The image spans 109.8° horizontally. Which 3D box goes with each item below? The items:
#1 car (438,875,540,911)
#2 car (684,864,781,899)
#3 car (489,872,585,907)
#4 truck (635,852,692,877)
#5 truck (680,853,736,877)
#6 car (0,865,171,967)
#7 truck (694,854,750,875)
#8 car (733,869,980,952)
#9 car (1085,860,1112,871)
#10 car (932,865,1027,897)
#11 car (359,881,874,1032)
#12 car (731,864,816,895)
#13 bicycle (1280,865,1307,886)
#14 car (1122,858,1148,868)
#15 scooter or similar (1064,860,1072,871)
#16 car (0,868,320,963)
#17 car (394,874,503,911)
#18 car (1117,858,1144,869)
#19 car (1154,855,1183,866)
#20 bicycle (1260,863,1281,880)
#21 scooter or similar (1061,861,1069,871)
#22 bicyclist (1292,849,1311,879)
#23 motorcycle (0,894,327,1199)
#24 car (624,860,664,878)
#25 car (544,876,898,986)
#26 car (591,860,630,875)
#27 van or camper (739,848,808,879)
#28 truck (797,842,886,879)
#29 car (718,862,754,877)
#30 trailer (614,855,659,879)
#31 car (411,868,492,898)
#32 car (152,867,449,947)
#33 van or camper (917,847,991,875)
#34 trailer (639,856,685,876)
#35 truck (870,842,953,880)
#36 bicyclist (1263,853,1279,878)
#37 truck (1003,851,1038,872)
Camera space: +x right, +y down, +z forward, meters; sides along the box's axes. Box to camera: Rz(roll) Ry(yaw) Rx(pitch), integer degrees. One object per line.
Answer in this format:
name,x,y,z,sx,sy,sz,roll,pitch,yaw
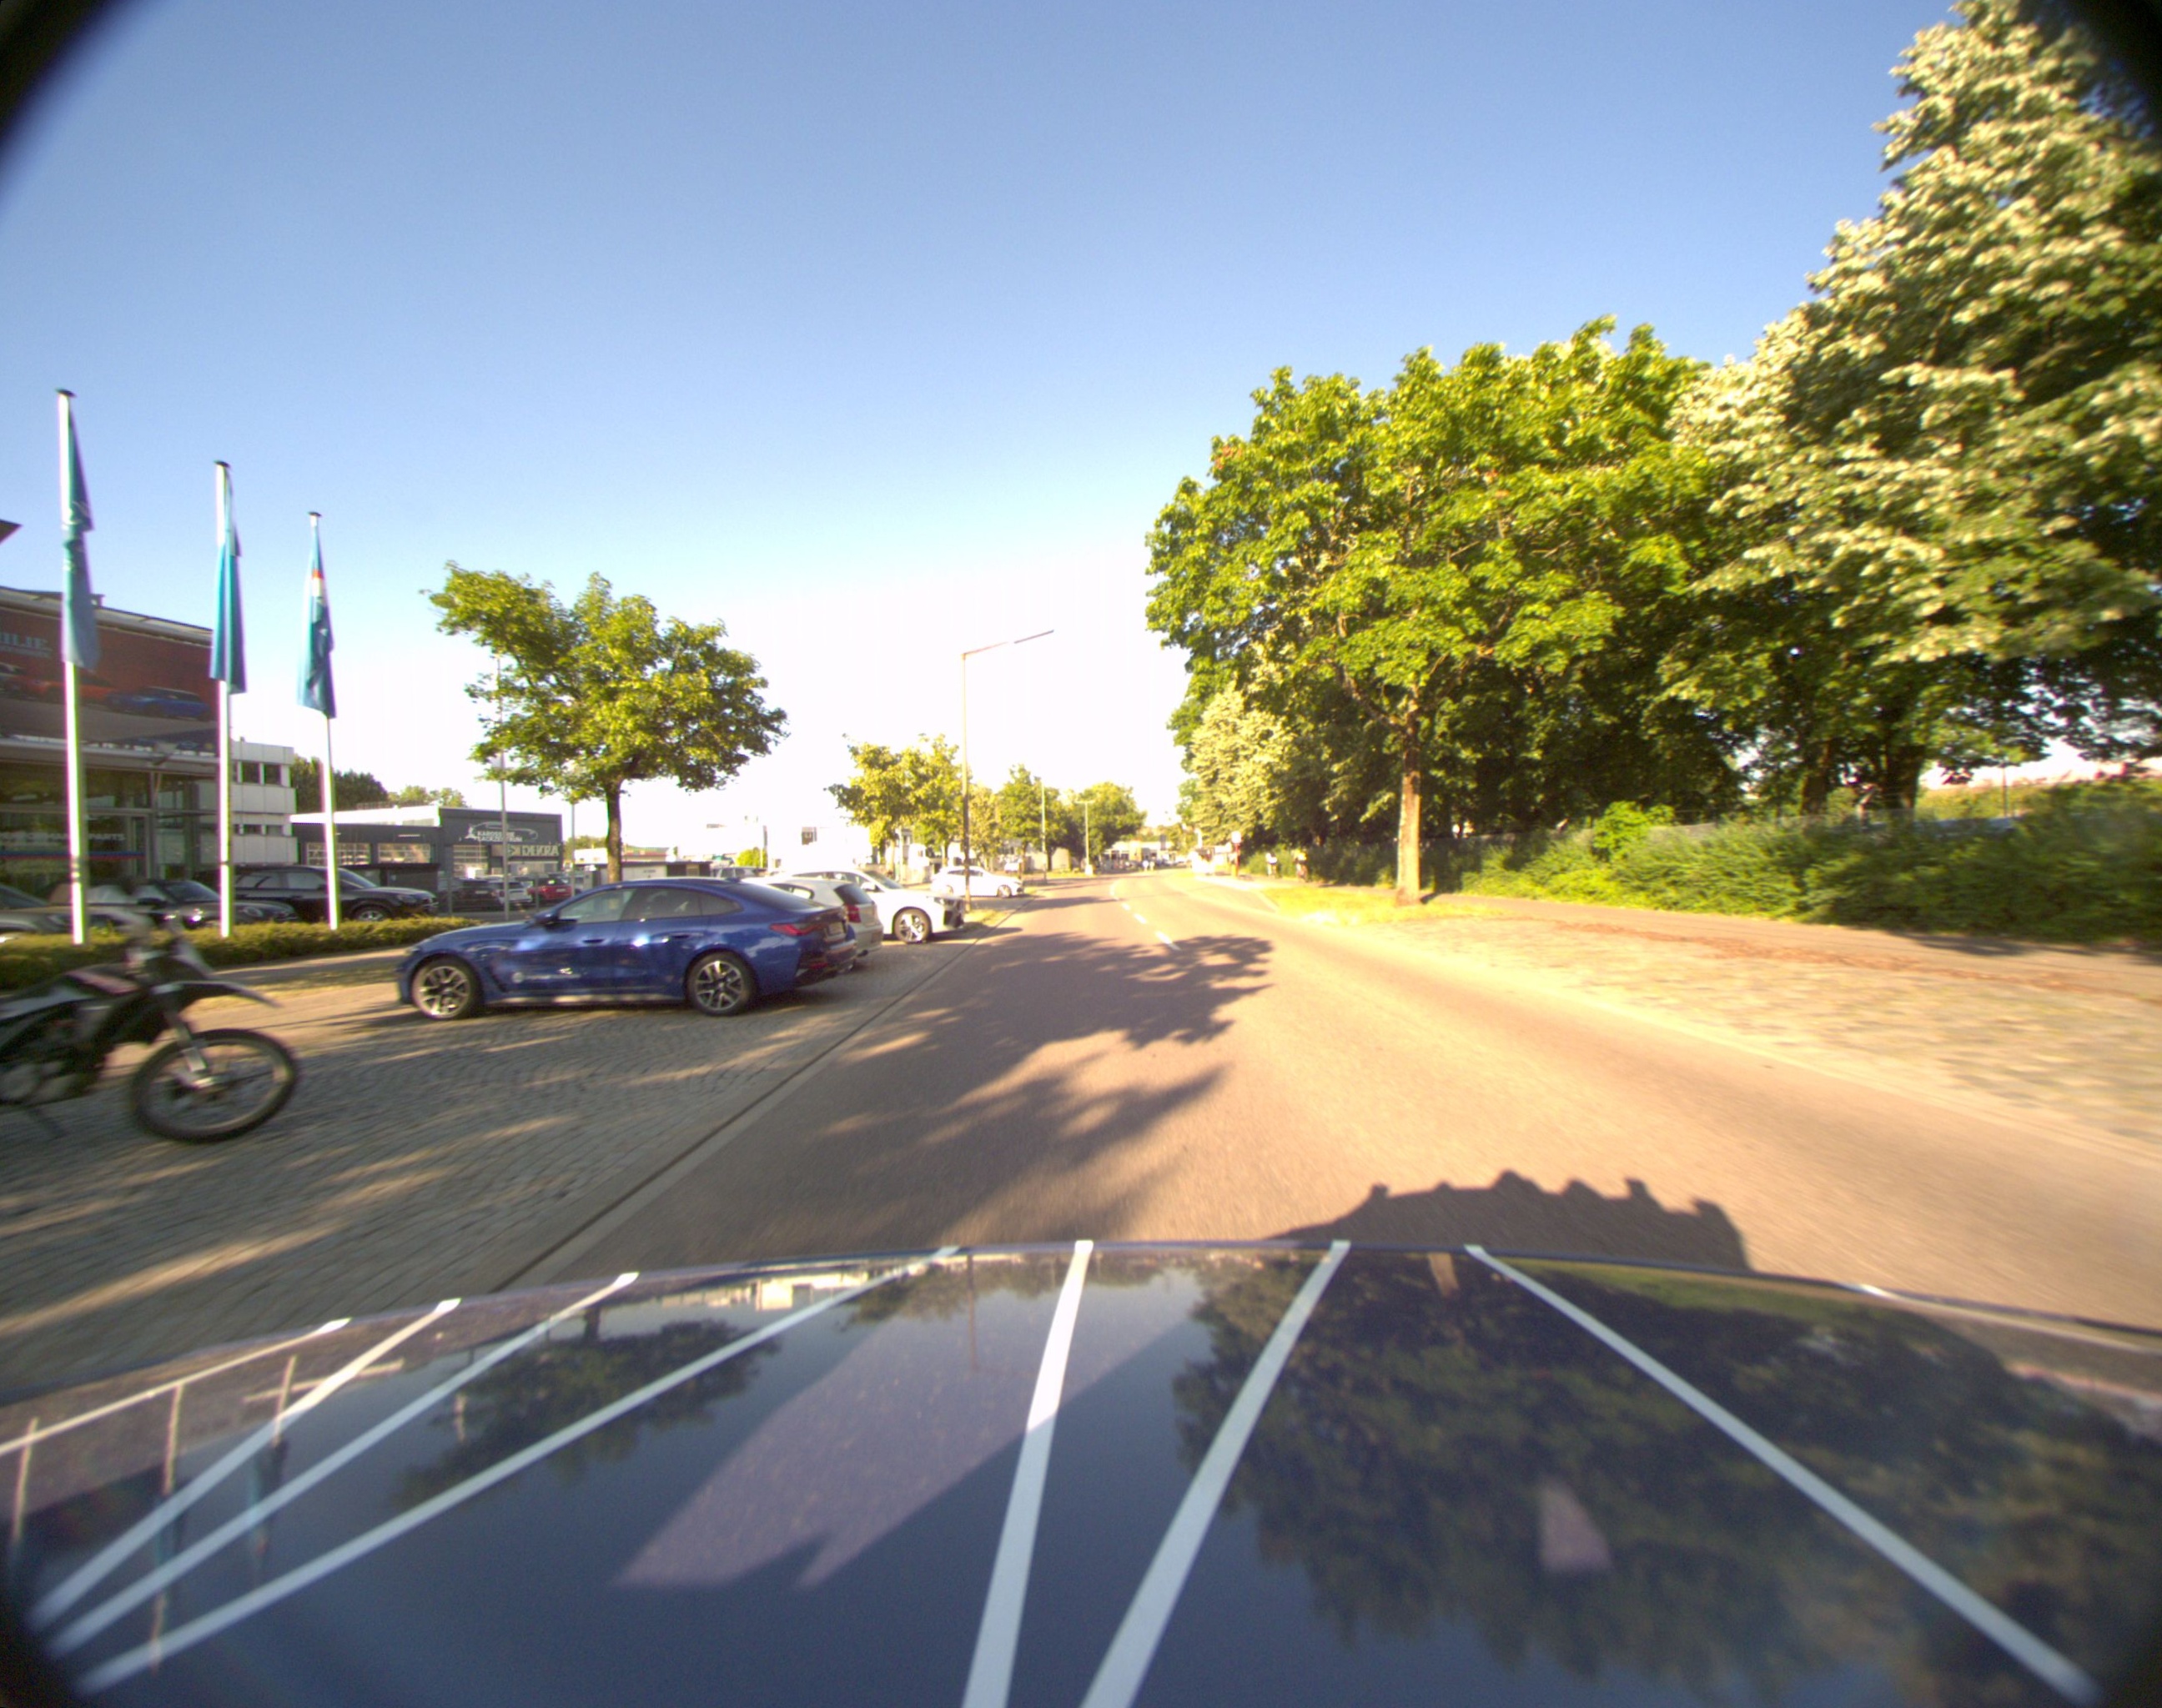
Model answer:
car,-28.616,1.874,36.739,3.991,1.570,2.002,-1,2,20
car,-16.994,1.343,37.070,3.991,1.569,2.003,-1,0,20
car,-27.827,1.808,38.890,3.991,1.570,2.002,-1,2,20
truck,-62.752,1.558,114.379,2.670,3.554,7.128,-1,0,33
truck,-54.015,1.610,110.144,1.994,3.331,7.128,-1,0,33
car,-18.505,0.984,12.173,4.611,1.565,1.996,0,0,-26
truck,-51.327,1.449,108.823,1.994,2.889,7.128,-1,0,33
car,-4.549,1.126,15.982,4.603,1.575,2.000,0,0,-2
car,3.352,2.249,146.964,4.833,2.002,2.305,-2,0,39
car,-4.735,1.272,36.027,4.209,1.435,2.088,0,0,-1
car,-4.963,1.071,8.657,4.636,1.447,2.000,0,0,1
car,-16.895,1.394,41.740,3.991,1.569,2.003,-1,0,20
bicycle,11.127,1.116,39.837,0.767,1.033,2.217,-1,0,1
car,11.018,1.797,154.292,4.833,2.002,2.305,-2,0,41
scooter or similar,-1.627,1.481,94.298,0.547,1.328,1.483,-1,0,15
car,-18.736,1.140,15.153,4.611,1.656,1.996,0,0,-26
car,-28.655,1.771,34.456,3.991,1.568,2.004,-1,-5,20
car,9.897,1.859,151.995,4.833,2.002,2.305,-2,0,41
car,17.474,1.340,152.335,5.275,2.002,2.410,-2,-1,41
bicycle,11.883,1.099,47.784,0.767,1.033,2.217,-2,0,1
scooter or similar,-1.973,1.515,92.804,0.547,1.189,1.483,-1,0,15
bicyclist,11.595,0.518,40.021,0.732,1.521,0.951,-1,0,1
motorcycle,-5.783,0.998,4.162,2.131,1.457,0.948,-1,0,-15
car,-57.315,1.912,99.716,2.083,2.264,4.008,-1,0,33
car,-5.218,1.091,11.488,4.387,1.470,2.000,0,0,1
car,-65.140,1.907,105.228,1.995,2.002,4.008,-1,0,32
van or camper,-34.494,1.089,85.189,8.117,3.309,2.419,-1,0,28
truck,-24.538,0.702,77.599,10.091,3.623,3.302,-1,0,36
car,-48.842,2.200,107.575,2.387,2.002,4.008,-1,0,33
trailer,-59.634,1.711,101.995,1.994,3.051,4.868,-1,0,33
car,-39.390,1.796,47.591,3.992,1.731,2.003,-1,0,17
car,-18.666,1.204,18.516,4.610,1.656,1.996,-1,0,-21
van or camper,-14.022,0.783,83.488,7.989,2.883,2.948,-1,0,32
trailer,-54.824,1.561,99.395,1.994,2.422,4.868,-1,0,33
truck,-16.287,0.697,72.700,8.230,3.501,3.122,-1,0,37
bicyclist,11.799,0.710,47.245,0.732,1.521,0.951,-1,0,1
truck,-8.081,1.023,101.844,2.541,2.704,5.980,-1,0,18
